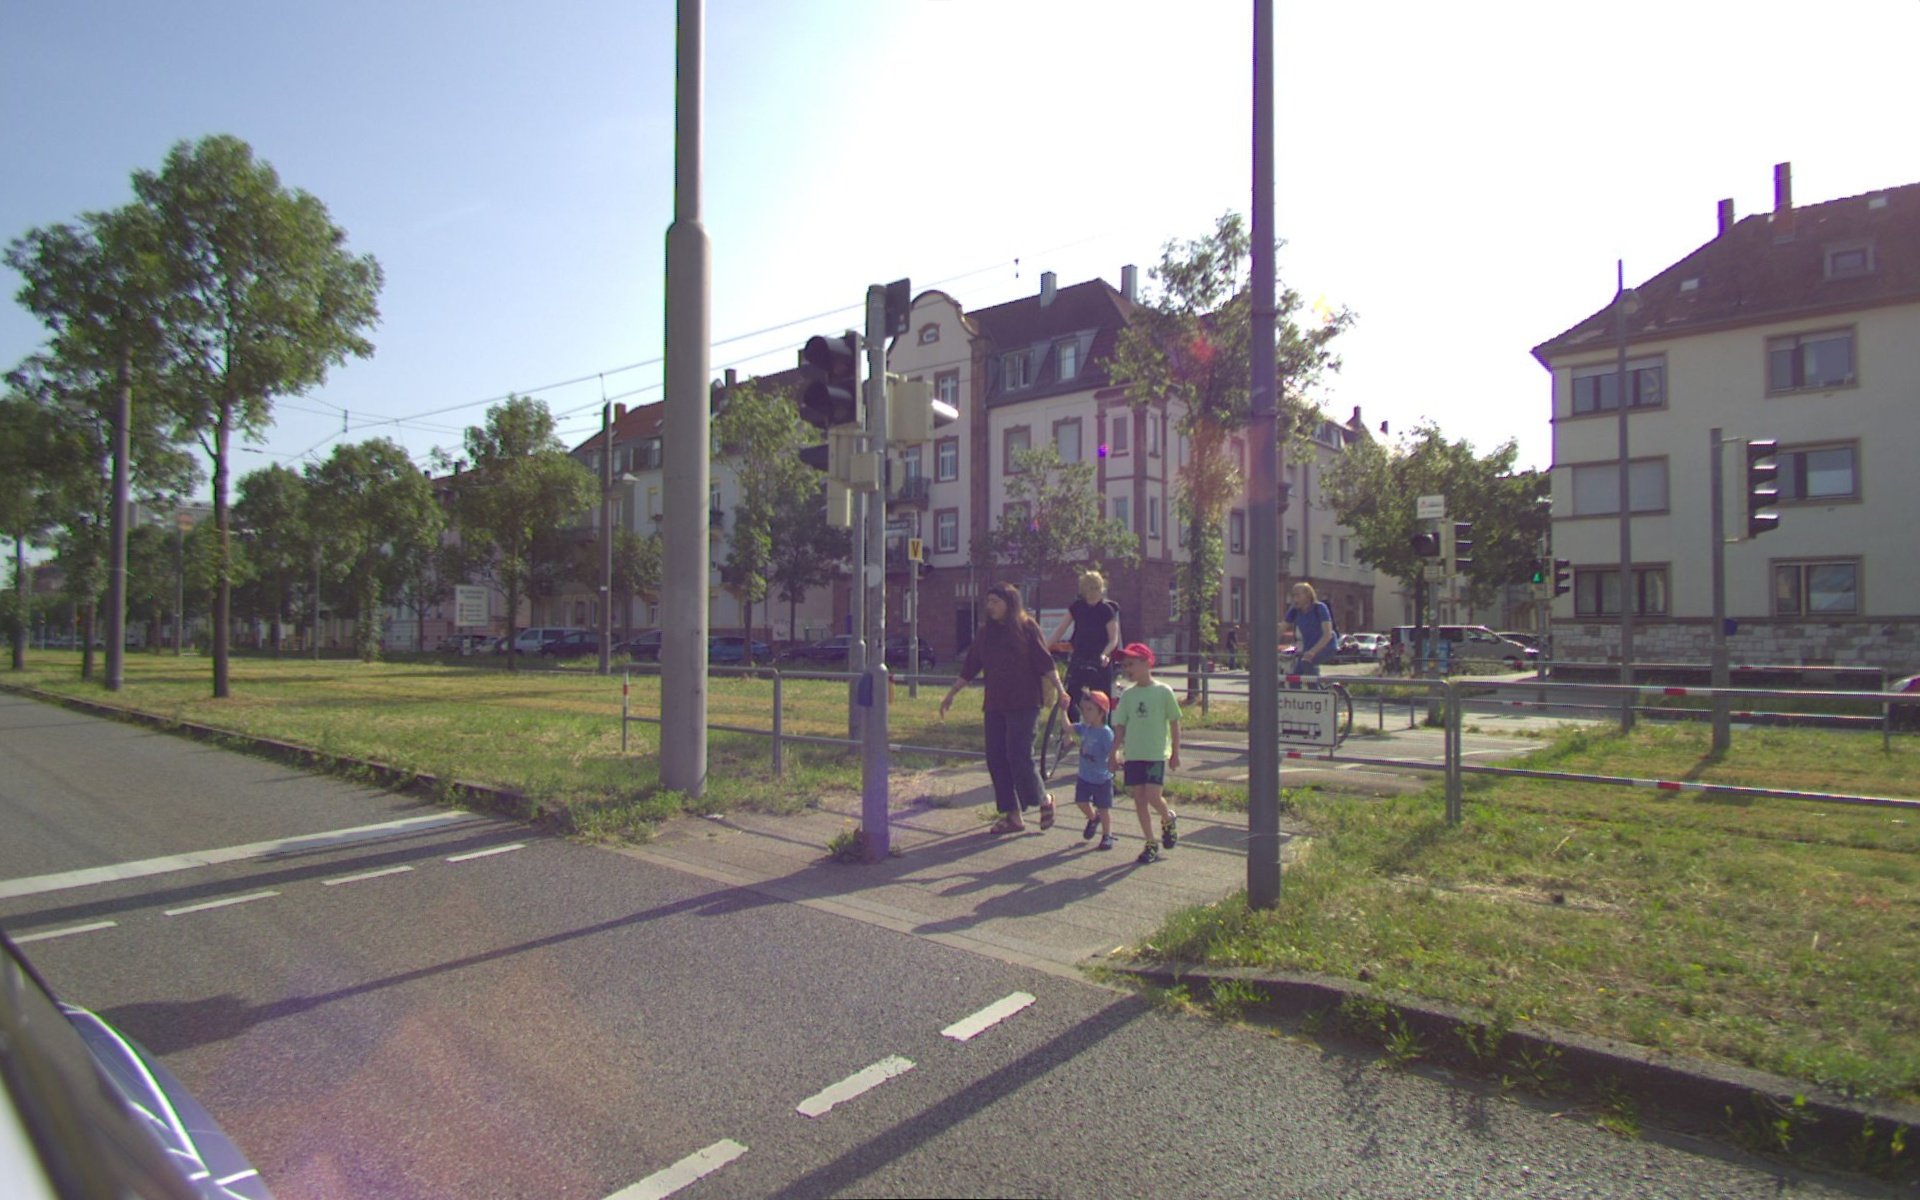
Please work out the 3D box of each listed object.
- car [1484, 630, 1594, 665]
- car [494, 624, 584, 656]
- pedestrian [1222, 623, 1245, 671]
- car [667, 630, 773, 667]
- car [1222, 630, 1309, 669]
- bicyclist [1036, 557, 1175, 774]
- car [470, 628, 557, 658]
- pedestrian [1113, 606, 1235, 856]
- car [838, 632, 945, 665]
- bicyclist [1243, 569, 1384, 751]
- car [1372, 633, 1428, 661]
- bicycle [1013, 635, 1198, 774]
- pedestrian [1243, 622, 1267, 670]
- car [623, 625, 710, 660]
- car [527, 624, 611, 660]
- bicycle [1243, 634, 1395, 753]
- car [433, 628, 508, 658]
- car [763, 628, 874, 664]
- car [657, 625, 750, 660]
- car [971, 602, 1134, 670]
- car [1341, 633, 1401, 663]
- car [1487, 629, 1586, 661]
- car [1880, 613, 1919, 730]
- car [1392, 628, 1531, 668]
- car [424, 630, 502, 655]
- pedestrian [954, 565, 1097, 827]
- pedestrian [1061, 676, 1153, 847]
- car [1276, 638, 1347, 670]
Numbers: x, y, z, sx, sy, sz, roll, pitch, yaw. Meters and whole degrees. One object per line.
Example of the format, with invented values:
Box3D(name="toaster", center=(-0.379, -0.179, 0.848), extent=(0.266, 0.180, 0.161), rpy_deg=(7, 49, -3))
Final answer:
Box3D(name="car", center=(25.825, 2.123, 45.323), extent=(3.971, 1.505, 1.863), rpy_deg=(-1, -2, 21))
Box3D(name="car", center=(-22.950, 2.143, 55.329), extent=(4.423, 1.617, 2.006), rpy_deg=(0, 0, -20))
Box3D(name="pedestrian", center=(10.432, 1.782, 38.621), extent=(0.632, 1.761, 0.661), rpy_deg=(-1, -1, 41))
Box3D(name="car", center=(-10.633, 2.107, 44.808), extent=(4.438, 1.451, 2.006), rpy_deg=(0, 0, -18))
Box3D(name="car", center=(13.073, 2.081, 43.190), extent=(2.000, 1.475, 3.943), rpy_deg=(-1, 0, 43))
Box3D(name="bicyclist", center=(1.305, 0.576, 9.182), extent=(0.856, 1.836, 0.911), rpy_deg=(1, -3, -32))
Box3D(name="car", center=(-25.261, 2.423, 57.469), extent=(4.423, 1.571, 2.006), rpy_deg=(0, 0, -20))
Box3D(name="pedestrian", center=(1.248, 0.731, 5.913), extent=(0.548, 1.368, 0.451), rpy_deg=(-2, -3, 39))
Box3D(name="car", center=(-2.631, 1.824, 38.665), extent=(3.784, 1.136, 1.774), rpy_deg=(0, 0, -18))
Box3D(name="bicyclist", center=(3.869, 0.616, 11.098), extent=(1.168, 1.864, 0.913), rpy_deg=(0, -1, -31))
Box3D(name="car", center=(24.635, 2.606, 56.627), extent=(1.735, 1.388, 3.695), rpy_deg=(-1, 0, 43))
Box3D(name="bicycle", center=(1.343, 0.901, 9.197), extent=(1.723, 1.154, 0.578), rpy_deg=(2, -3, -35))
Box3D(name="pedestrian", center=(11.081, 1.722, 38.013), extent=(0.632, 1.761, 0.661), rpy_deg=(-1, -1, 41))
Box3D(name="car", center=(-14.239, 2.048, 49.067), extent=(3.994, 1.566, 1.922), rpy_deg=(0, 0, -18))
Box3D(name="car", center=(-19.991, 2.131, 51.875), extent=(3.931, 1.719, 1.881), rpy_deg=(0, 0, -20))
Box3D(name="bicycle", center=(3.919, 0.978, 11.013), extent=(1.763, 1.154, 0.578), rpy_deg=(0, -1, -32))
Box3D(name="car", center=(-29.804, 2.603, 61.732), extent=(4.076, 1.670, 2.007), rpy_deg=(0, 0, -25))
Box3D(name="car", center=(-5.915, 1.904, 42.152), extent=(4.269, 1.336, 2.006), rpy_deg=(0, 0, -18))
Box3D(name="car", center=(-11.966, 1.956, 47.096), extent=(4.121, 1.514, 1.947), rpy_deg=(0, 0, -17))
Box3D(name="car", center=(3.714, 1.419, 41.595), extent=(6.501, 2.583, 2.325), rpy_deg=(-1, 0, 39))
Box3D(name="car", center=(21.517, 2.489, 52.946), extent=(1.735, 1.388, 3.695), rpy_deg=(-1, 0, 43))
Box3D(name="car", center=(28.503, 2.223, 50.174), extent=(3.971, 1.505, 1.863), rpy_deg=(-1, -2, 21))
Box3D(name="car", center=(16.177, 1.101, 14.671), extent=(4.160, 1.751, 1.796), rpy_deg=(-1, -4, 42))
Box3D(name="car", center=(19.101, 1.811, 38.720), extent=(4.447, 1.481, 1.603), rpy_deg=(0, -2, 10))
Box3D(name="car", center=(-32.355, 2.743, 66.009), extent=(4.423, 1.502, 2.006), rpy_deg=(0, 0, -20))
Box3D(name="pedestrian", center=(0.435, 0.605, 6.707), extent=(0.734, 1.616, 0.604), rpy_deg=(-2, -3, 39))
Box3D(name="pedestrian", center=(0.914, 0.978, 6.296), extent=(0.420, 0.989, 0.407), rpy_deg=(-2, -3, 38))
Box3D(name="car", center=(16.554, 2.493, 47.578), extent=(1.735, 1.295, 3.842), rpy_deg=(-1, 0, 43))
